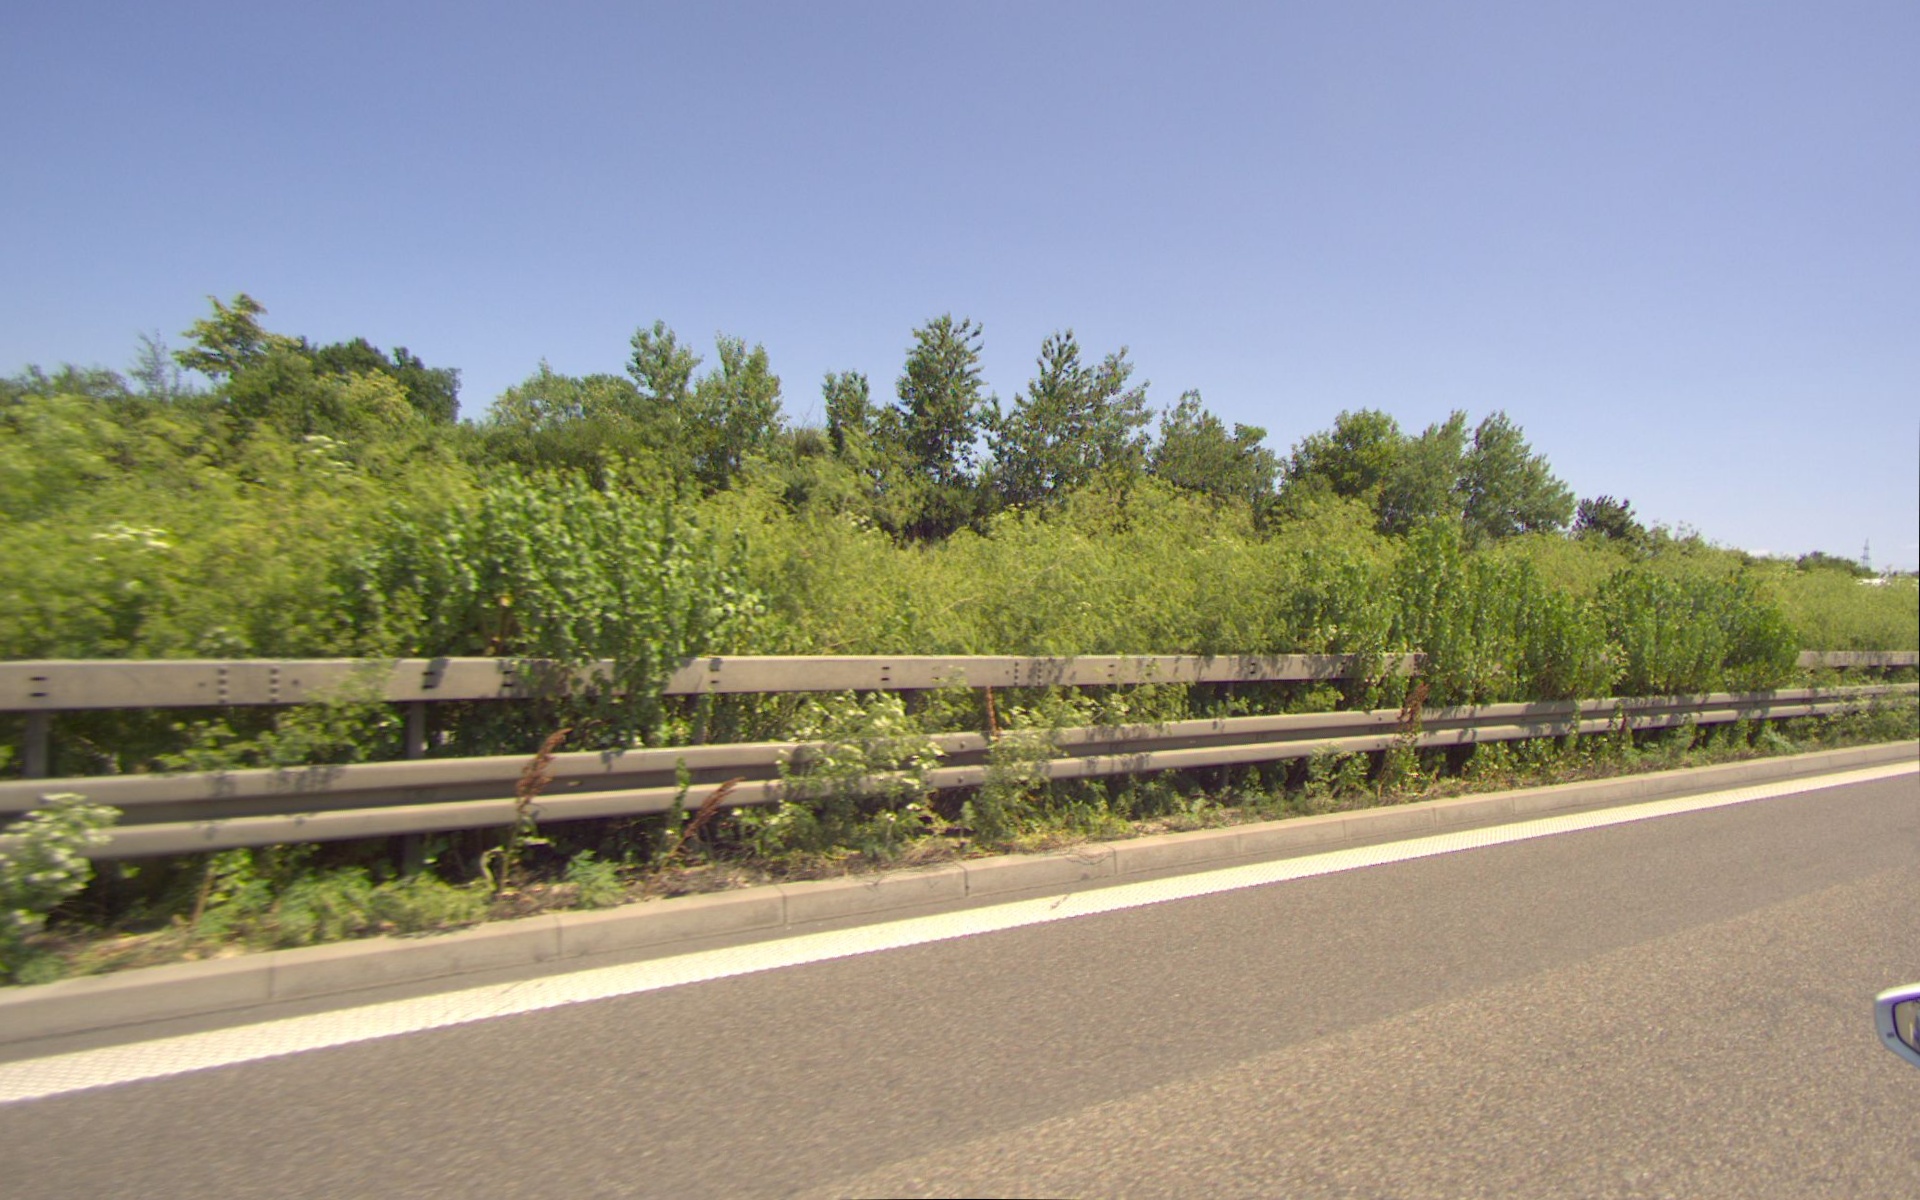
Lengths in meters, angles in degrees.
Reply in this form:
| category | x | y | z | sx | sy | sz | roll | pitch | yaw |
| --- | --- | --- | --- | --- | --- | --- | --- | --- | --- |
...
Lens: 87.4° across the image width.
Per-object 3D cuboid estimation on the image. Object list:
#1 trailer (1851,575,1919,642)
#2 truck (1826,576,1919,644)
| category | x | y | z | sx | sy | sz | roll | pitch | yaw |
| --- | --- | --- | --- | --- | --- | --- | --- | --- | --- |
| trailer | 55.763 | 0.633 | 57.771 | 15.658 | 3.489 | 2.583 | 2 | -1 | -33 |
| truck | 48.374 | 0.541 | 53.038 | 4.989 | 3.395 | 2.583 | 2 | -1 | -32 |
